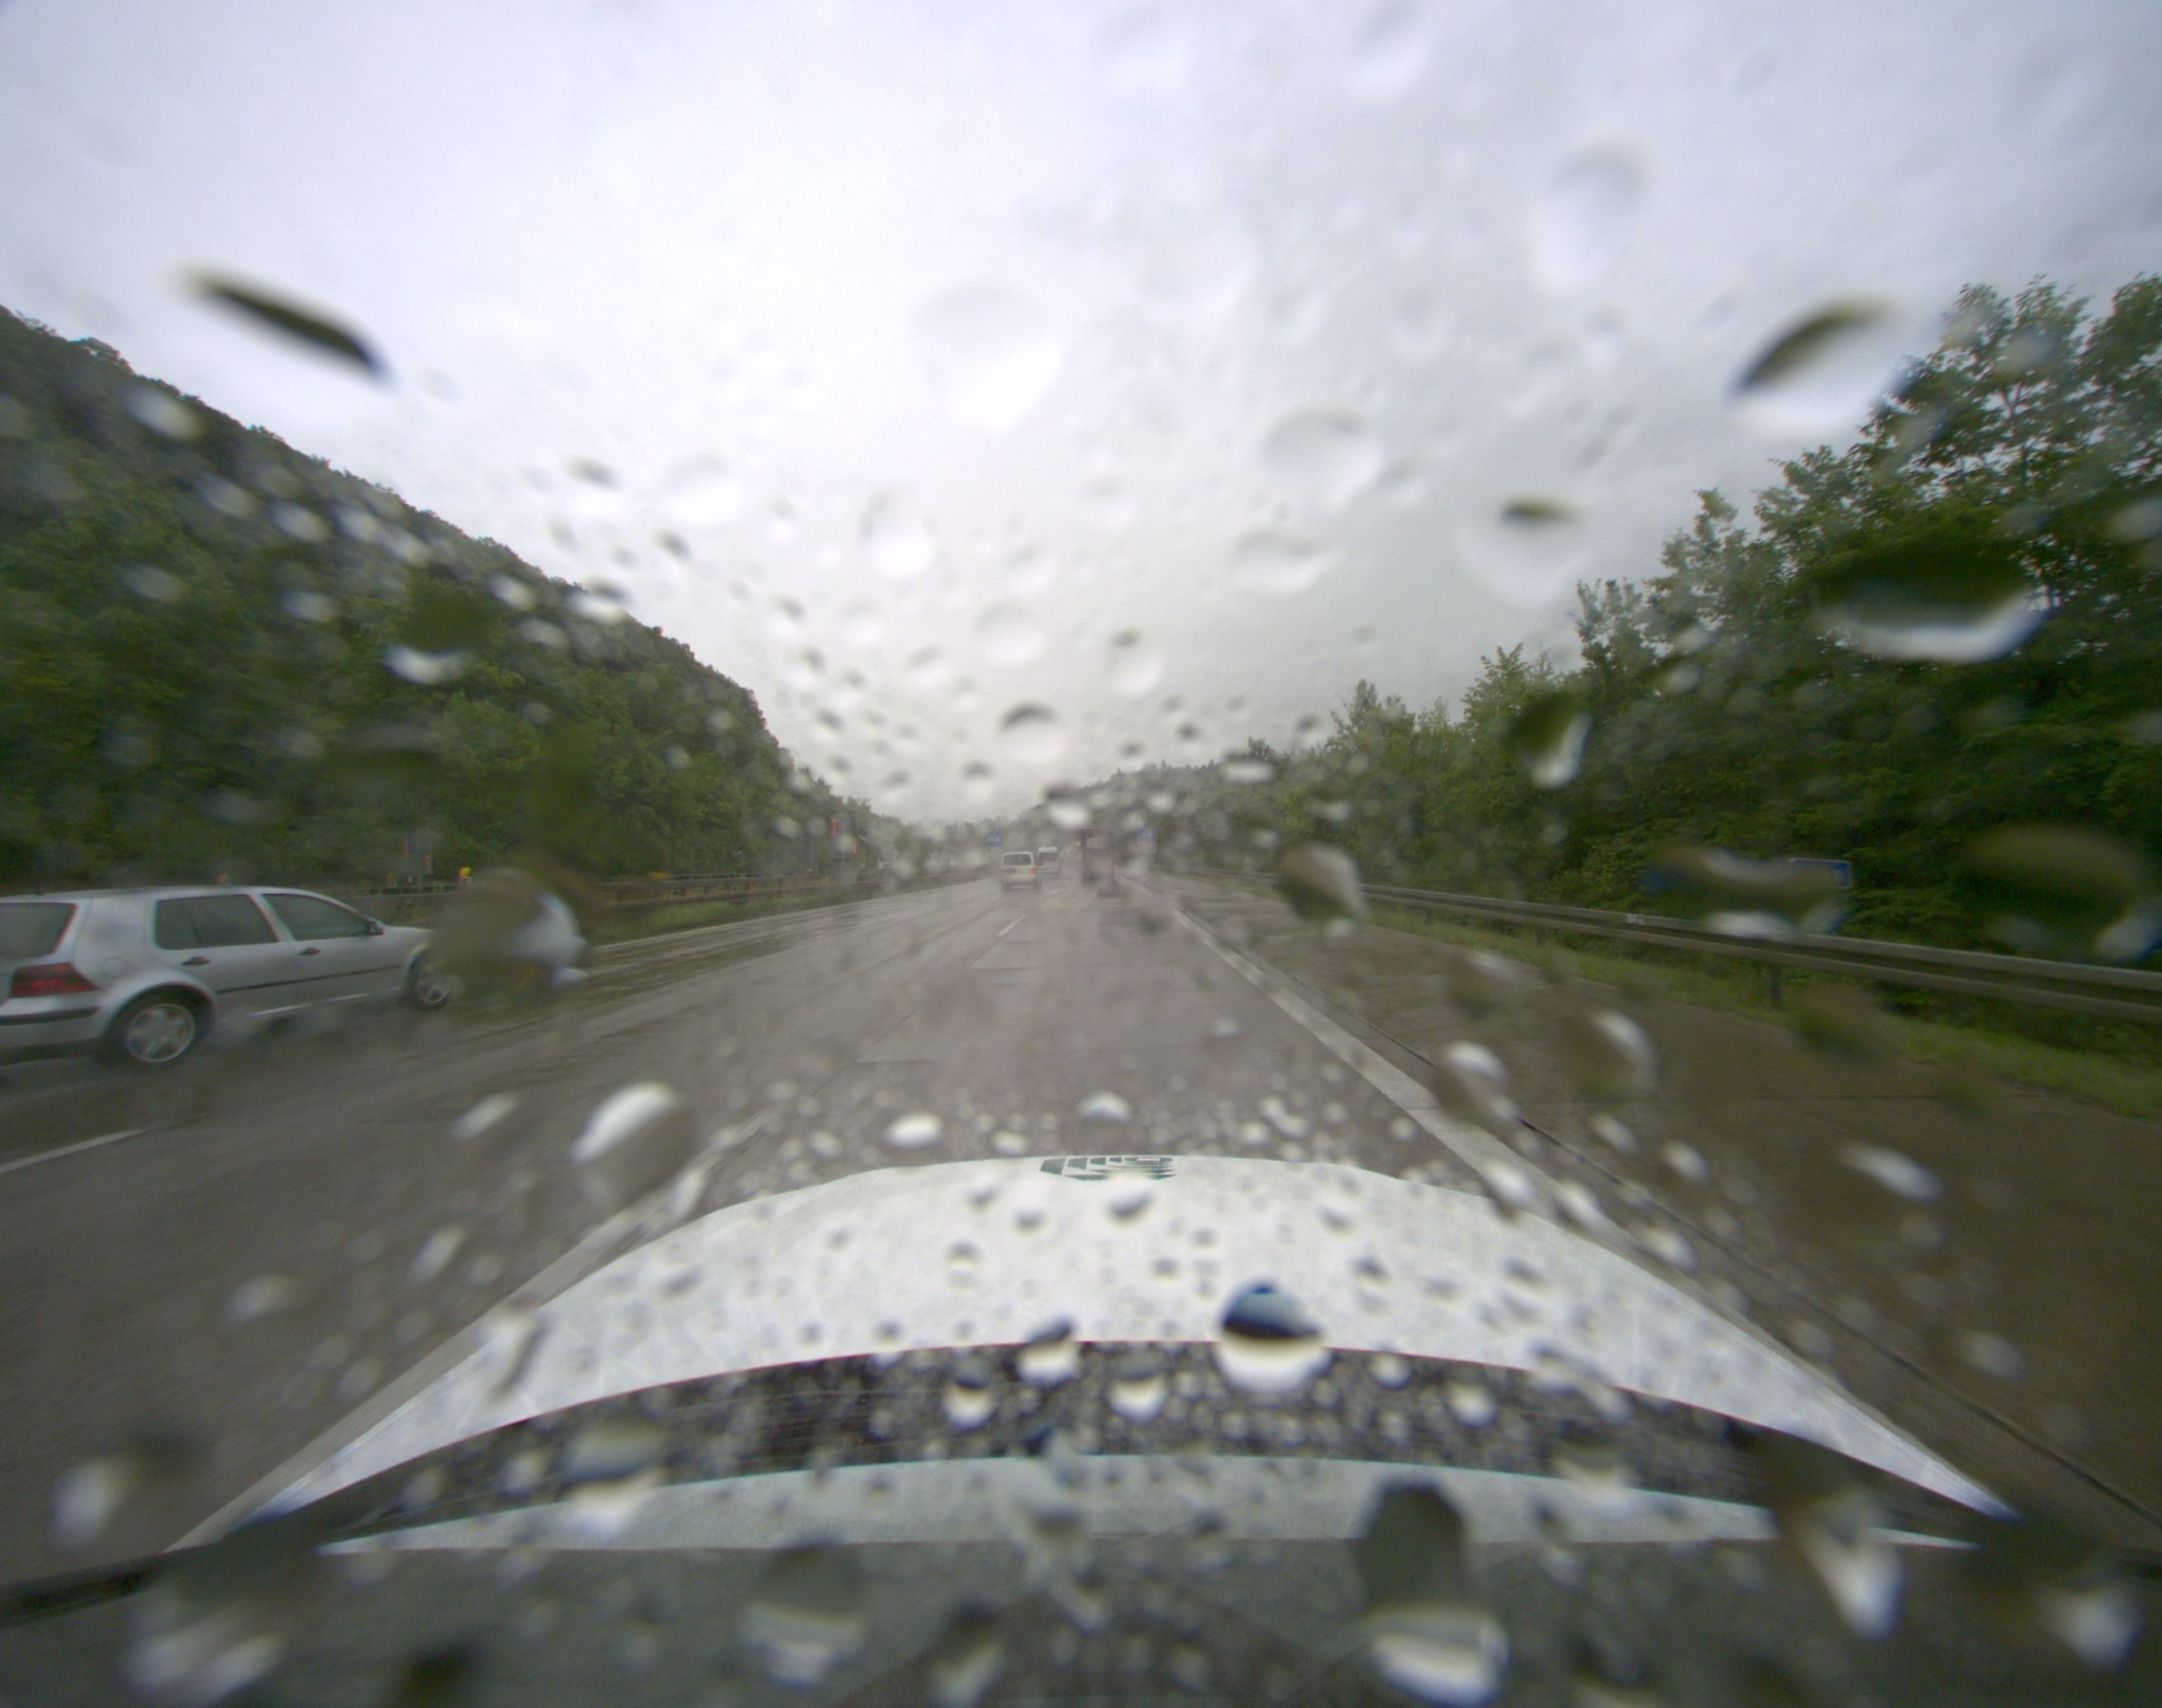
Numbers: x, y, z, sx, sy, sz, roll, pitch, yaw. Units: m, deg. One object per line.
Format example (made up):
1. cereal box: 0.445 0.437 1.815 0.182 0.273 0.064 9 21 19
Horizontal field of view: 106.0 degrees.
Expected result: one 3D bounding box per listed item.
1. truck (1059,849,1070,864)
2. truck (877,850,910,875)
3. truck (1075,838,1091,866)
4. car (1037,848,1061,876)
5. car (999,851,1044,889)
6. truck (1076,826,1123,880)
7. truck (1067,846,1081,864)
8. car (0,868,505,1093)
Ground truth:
1. truck: -3.641 0.635 179.400 1.991 3.169 6.720 -1 0 -6
2. truck: -24.140 1.055 105.235 2.289 3.019 7.924 0 0 1
3. truck: 0.308 -0.240 114.605 1.987 3.806 6.734 -1 0 1
4. car: -2.767 0.646 69.694 1.896 2.334 5.243 -1 0 -4
5. car: -3.092 0.803 43.373 1.892 1.894 5.044 -1 0 1
6. truck: 1.469 -0.171 66.876 3.373 3.967 8.668 -3 2 1
7. truck: -1.331 0.251 148.791 1.991 3.169 6.720 -1 0 -6
8. car: -7.782 0.885 7.579 1.661 1.434 4.351 -1 0 1
